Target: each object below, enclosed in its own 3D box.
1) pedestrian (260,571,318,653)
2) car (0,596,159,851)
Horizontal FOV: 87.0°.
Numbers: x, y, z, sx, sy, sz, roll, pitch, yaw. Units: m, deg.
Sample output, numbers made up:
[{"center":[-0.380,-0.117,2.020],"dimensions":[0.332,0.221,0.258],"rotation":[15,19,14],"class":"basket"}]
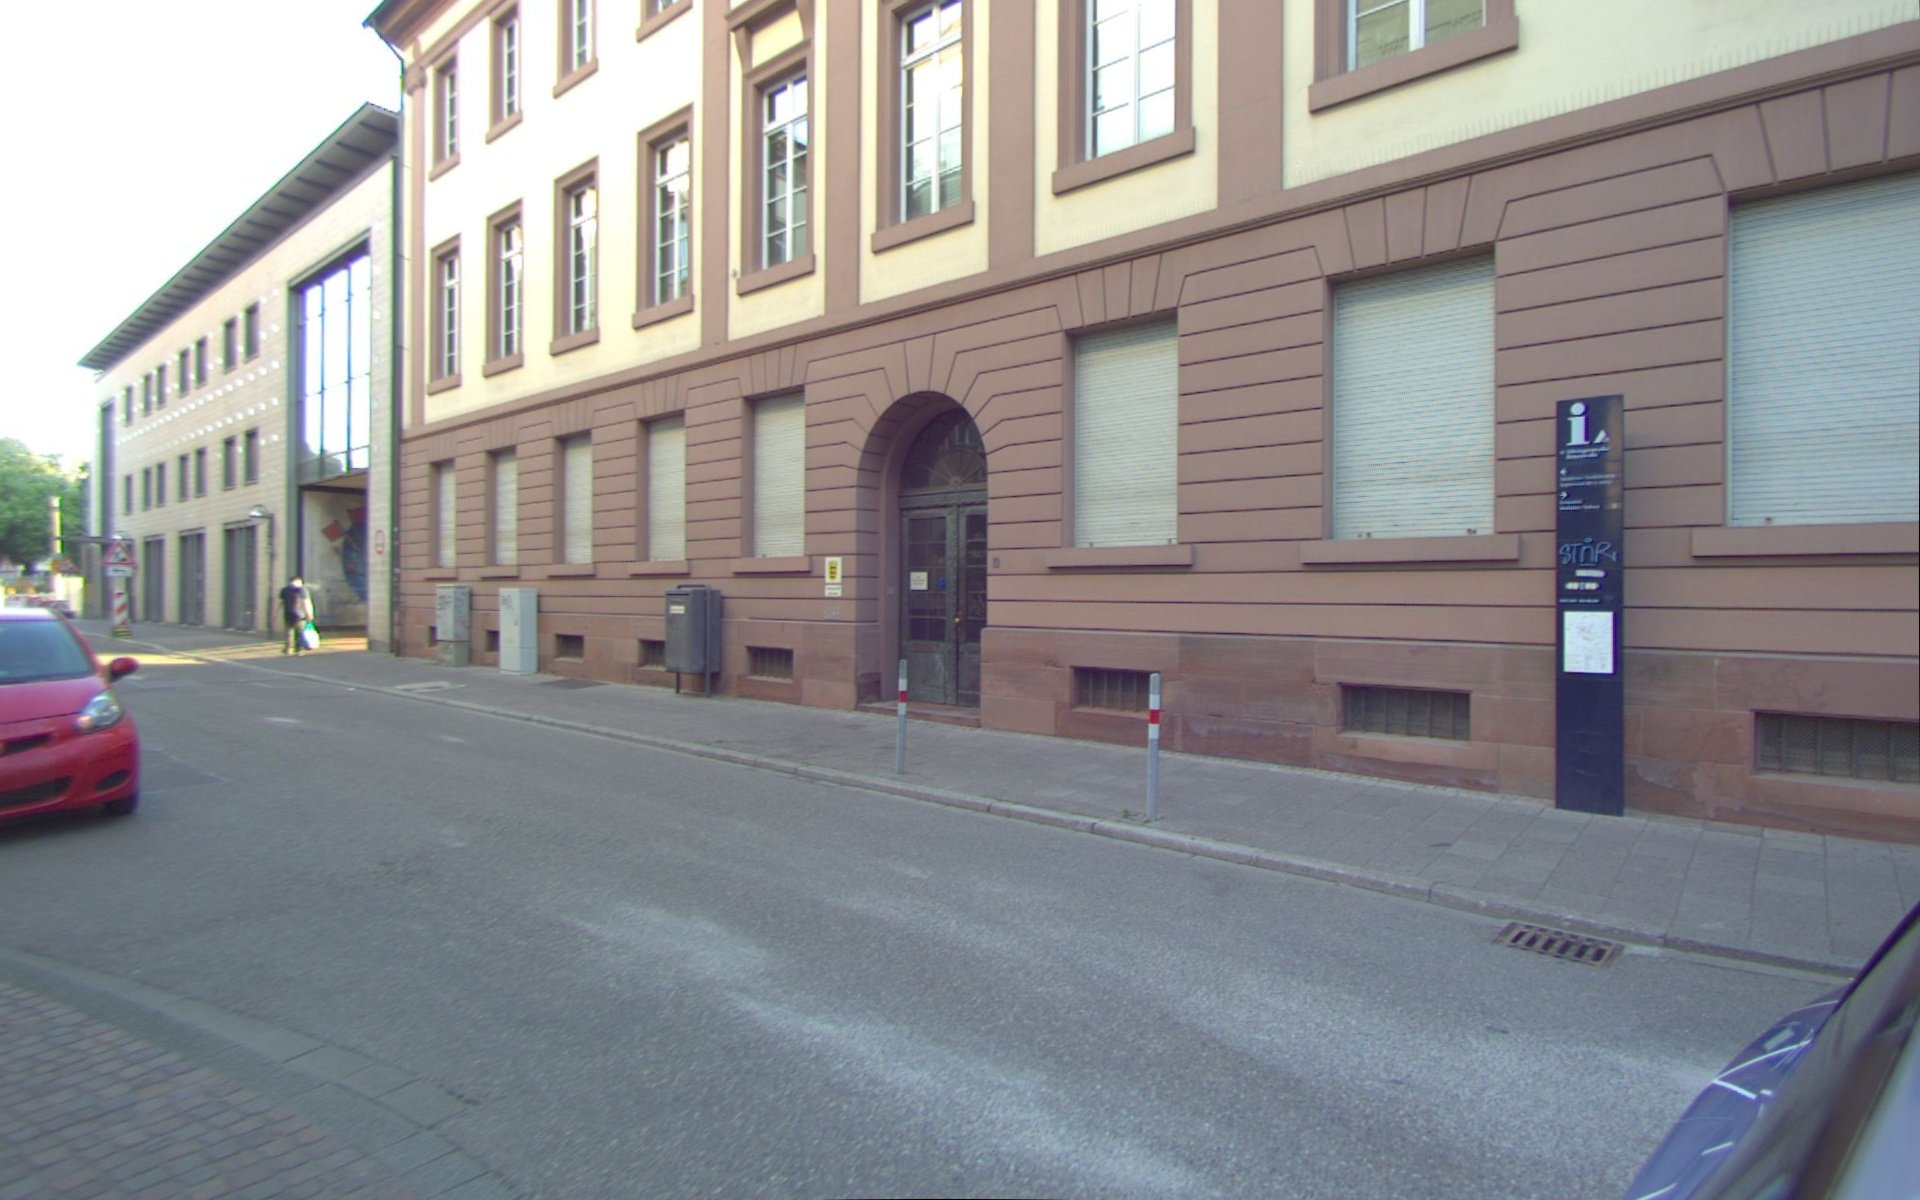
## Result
[{"center":[-15.197,0.265,22.915],"dimensions":[0.937,1.801,0.915],"rotation":[0,0,43],"class":"pedestrian"},{"center":[-7.210,0.748,7.313],"dimensions":[3.986,1.460,1.625],"rotation":[0,3,43],"class":"car"}]
